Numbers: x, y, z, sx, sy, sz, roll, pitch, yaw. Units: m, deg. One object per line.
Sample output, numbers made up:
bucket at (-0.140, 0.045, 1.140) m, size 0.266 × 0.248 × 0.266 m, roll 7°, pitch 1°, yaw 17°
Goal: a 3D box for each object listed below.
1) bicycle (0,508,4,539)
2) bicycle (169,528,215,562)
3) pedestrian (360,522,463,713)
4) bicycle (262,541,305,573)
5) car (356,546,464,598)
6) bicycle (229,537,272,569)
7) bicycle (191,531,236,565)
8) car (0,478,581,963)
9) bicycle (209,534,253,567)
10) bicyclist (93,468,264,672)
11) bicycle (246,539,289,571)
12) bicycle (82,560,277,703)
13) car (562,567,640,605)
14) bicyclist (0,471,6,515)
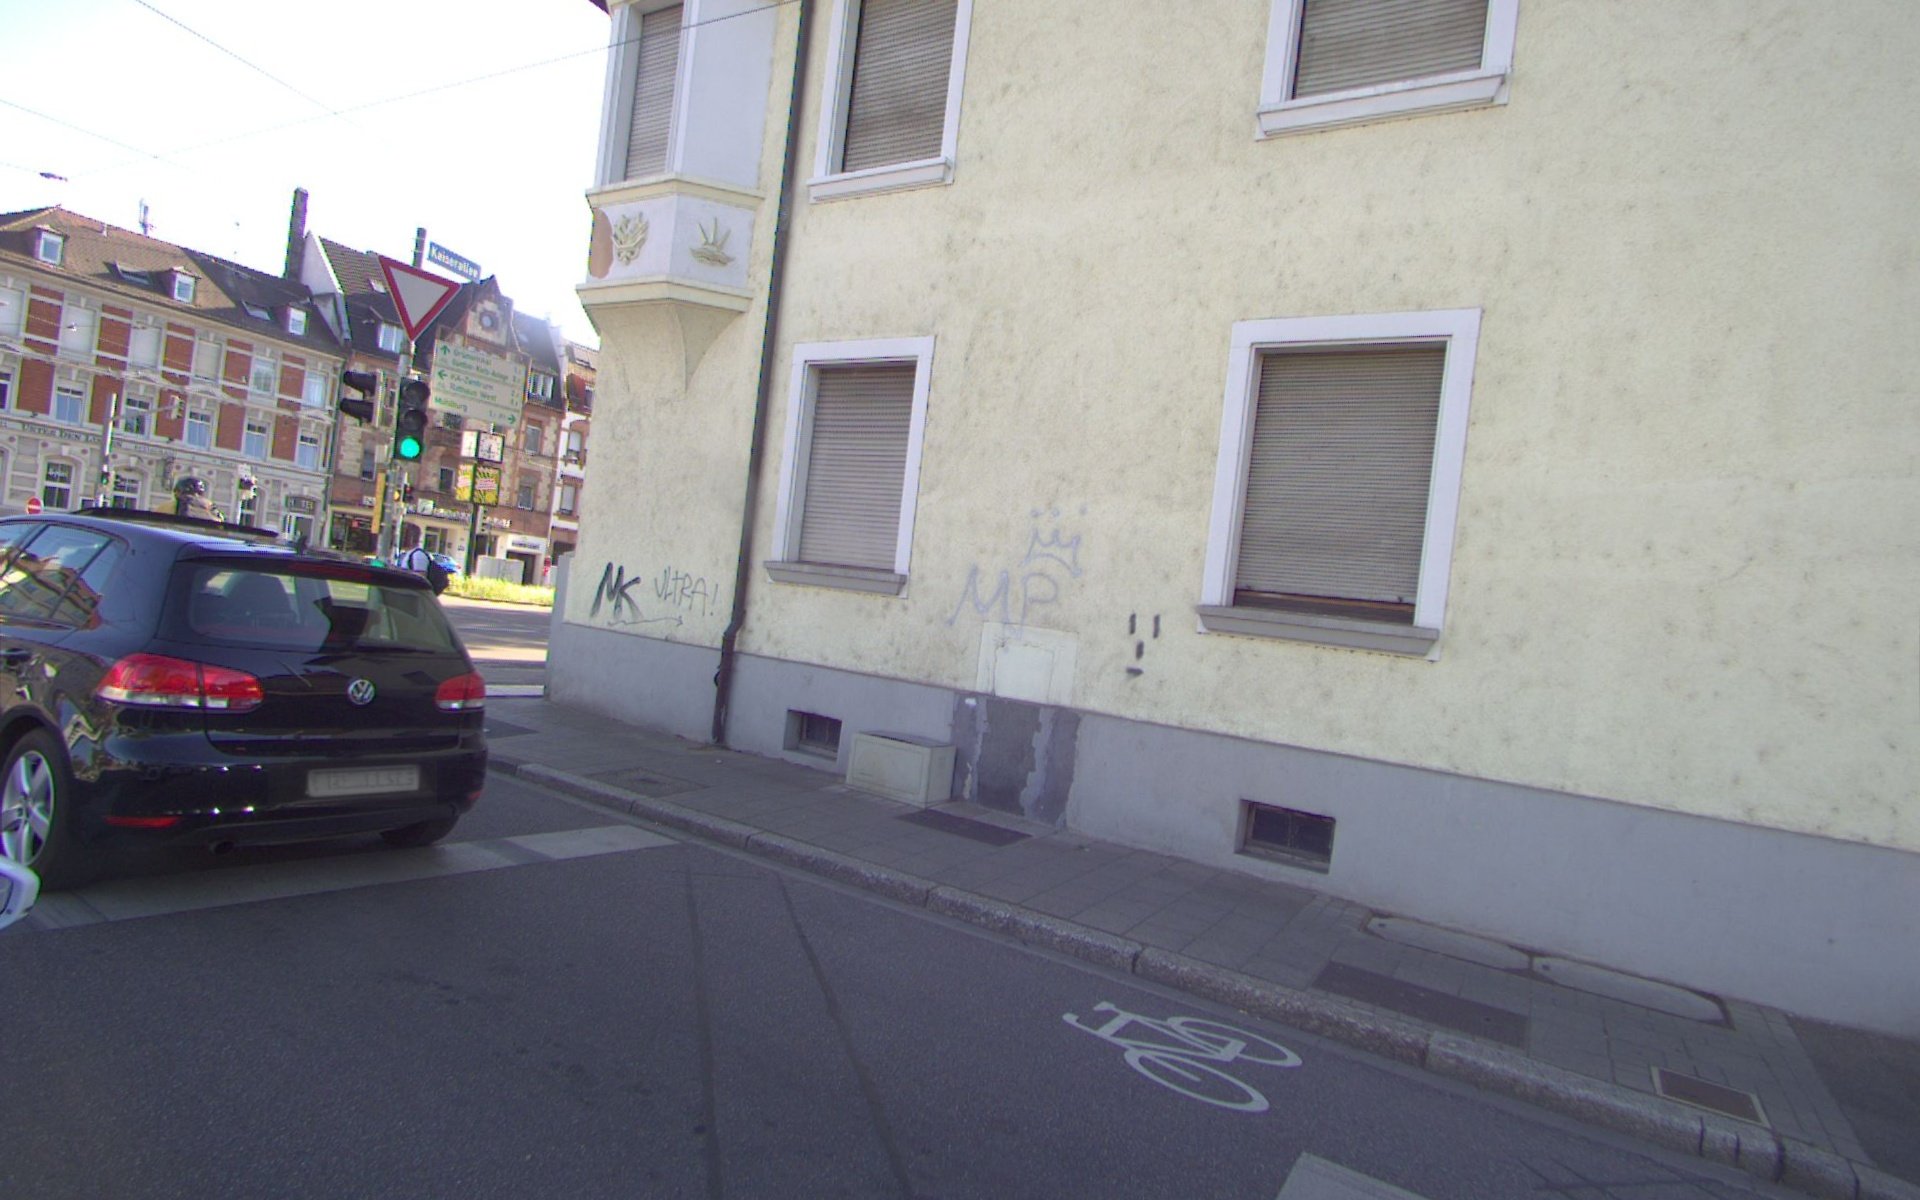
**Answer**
bicycle at (-12.464, -0.590, 12.310) m, size 1.677 × 1.251 × 0.755 m, roll 6°, pitch -2°, yaw 37°
bicycle at (-34.646, -2.482, 45.386) m, size 2.618 × 1.301 × 0.693 m, roll 6°, pitch -1°, yaw 33°
pedestrian at (-5.364, 0.161, 9.864) m, size 0.631 × 1.780 × 0.584 m, roll 4°, pitch 3°, yaw -7°
bicycle at (-32.684, -2.065, 48.586) m, size 2.618 × 1.301 × 0.629 m, roll 6°, pitch -1°, yaw 33°
car at (-25.546, -1.274, 46.809) m, size 1.967 × 1.798 × 3.790 m, roll 6°, pitch -2°, yaw 31°
bicycle at (-33.419, -2.221, 47.367) m, size 2.618 × 1.301 × 0.629 m, roll 6°, pitch -1°, yaw 33°
bicycle at (-34.201, -2.383, 46.070) m, size 2.618 × 1.301 × 0.693 m, roll 6°, pitch -1°, yaw 33°
car at (-4.055, 0.300, 5.166) m, size 3.983 × 1.525 × 1.732 m, roll 9°, pitch -1°, yaw 32°
bicycle at (-33.834, -2.320, 46.695) m, size 2.618 × 1.301 × 0.629 m, roll 6°, pitch -1°, yaw 33°
bicyclist at (-7.053, -0.261, 9.093) m, size 0.869 × 1.682 × 0.807 m, roll 6°, pitch -1°, yaw 32°
bicycle at (-33.053, -2.144, 47.996) m, size 2.618 × 1.301 × 0.629 m, roll 6°, pitch -1°, yaw 33°
bicycle at (-6.991, 0.269, 8.991) m, size 1.751 × 1.043 × 0.756 m, roll 6°, pitch -2°, yaw 33°
car at (-23.248, -0.877, 65.290) m, size 1.967 × 1.798 × 4.374 m, roll 6°, pitch -2°, yaw 31°
bicyclist at (-12.387, -0.840, 12.275) m, size 0.870 × 1.625 × 0.806 m, roll 6°, pitch -1°, yaw 37°
